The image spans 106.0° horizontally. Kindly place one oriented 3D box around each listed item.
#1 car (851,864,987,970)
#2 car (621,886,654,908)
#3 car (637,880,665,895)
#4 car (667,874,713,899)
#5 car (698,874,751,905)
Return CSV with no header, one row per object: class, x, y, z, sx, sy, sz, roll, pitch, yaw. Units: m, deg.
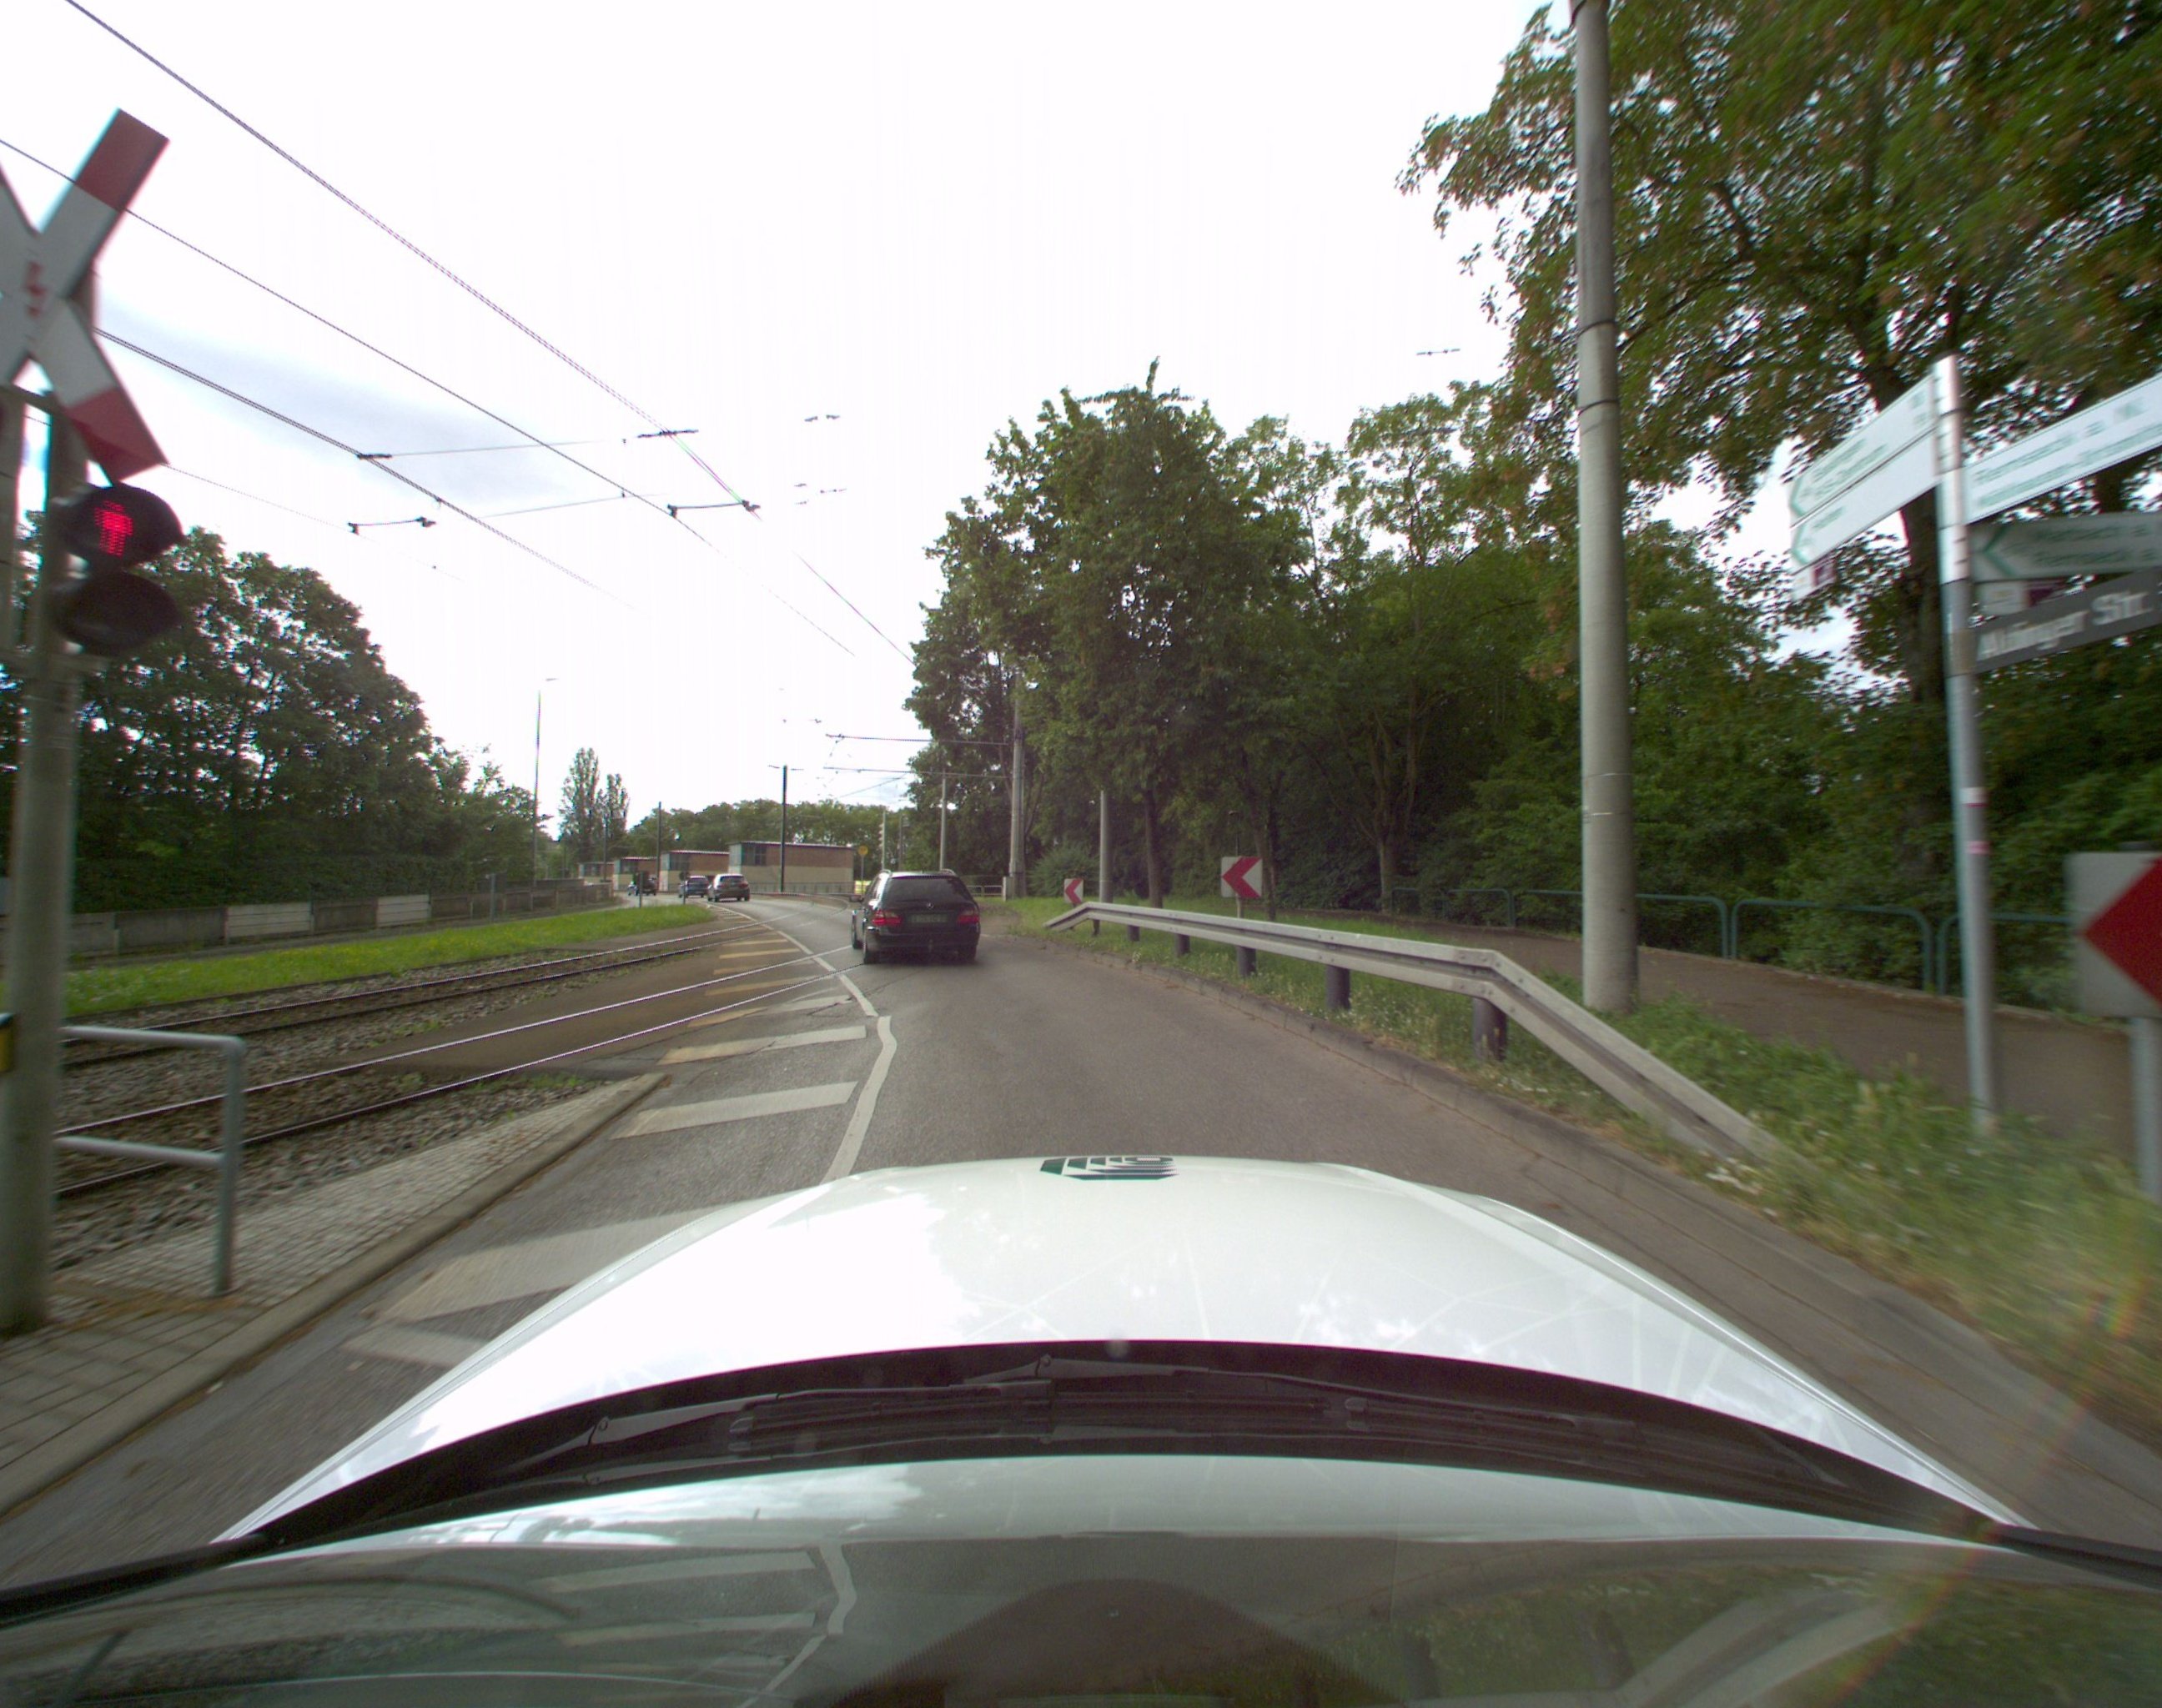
car,-3.008,0.979,14.362,1.764,1.516,4.413,-1,-1,-19
car,-37.611,3.599,69.026,2.008,1.673,4.491,-1,-1,-35
car,-45.826,3.588,86.781,2.008,1.571,4.852,2,-4,-34
car,-26.747,2.174,55.633,2.009,1.564,4.942,-1,0,-36
car,-19.753,1.933,45.067,1.784,1.555,4.193,-1,-1,-36
